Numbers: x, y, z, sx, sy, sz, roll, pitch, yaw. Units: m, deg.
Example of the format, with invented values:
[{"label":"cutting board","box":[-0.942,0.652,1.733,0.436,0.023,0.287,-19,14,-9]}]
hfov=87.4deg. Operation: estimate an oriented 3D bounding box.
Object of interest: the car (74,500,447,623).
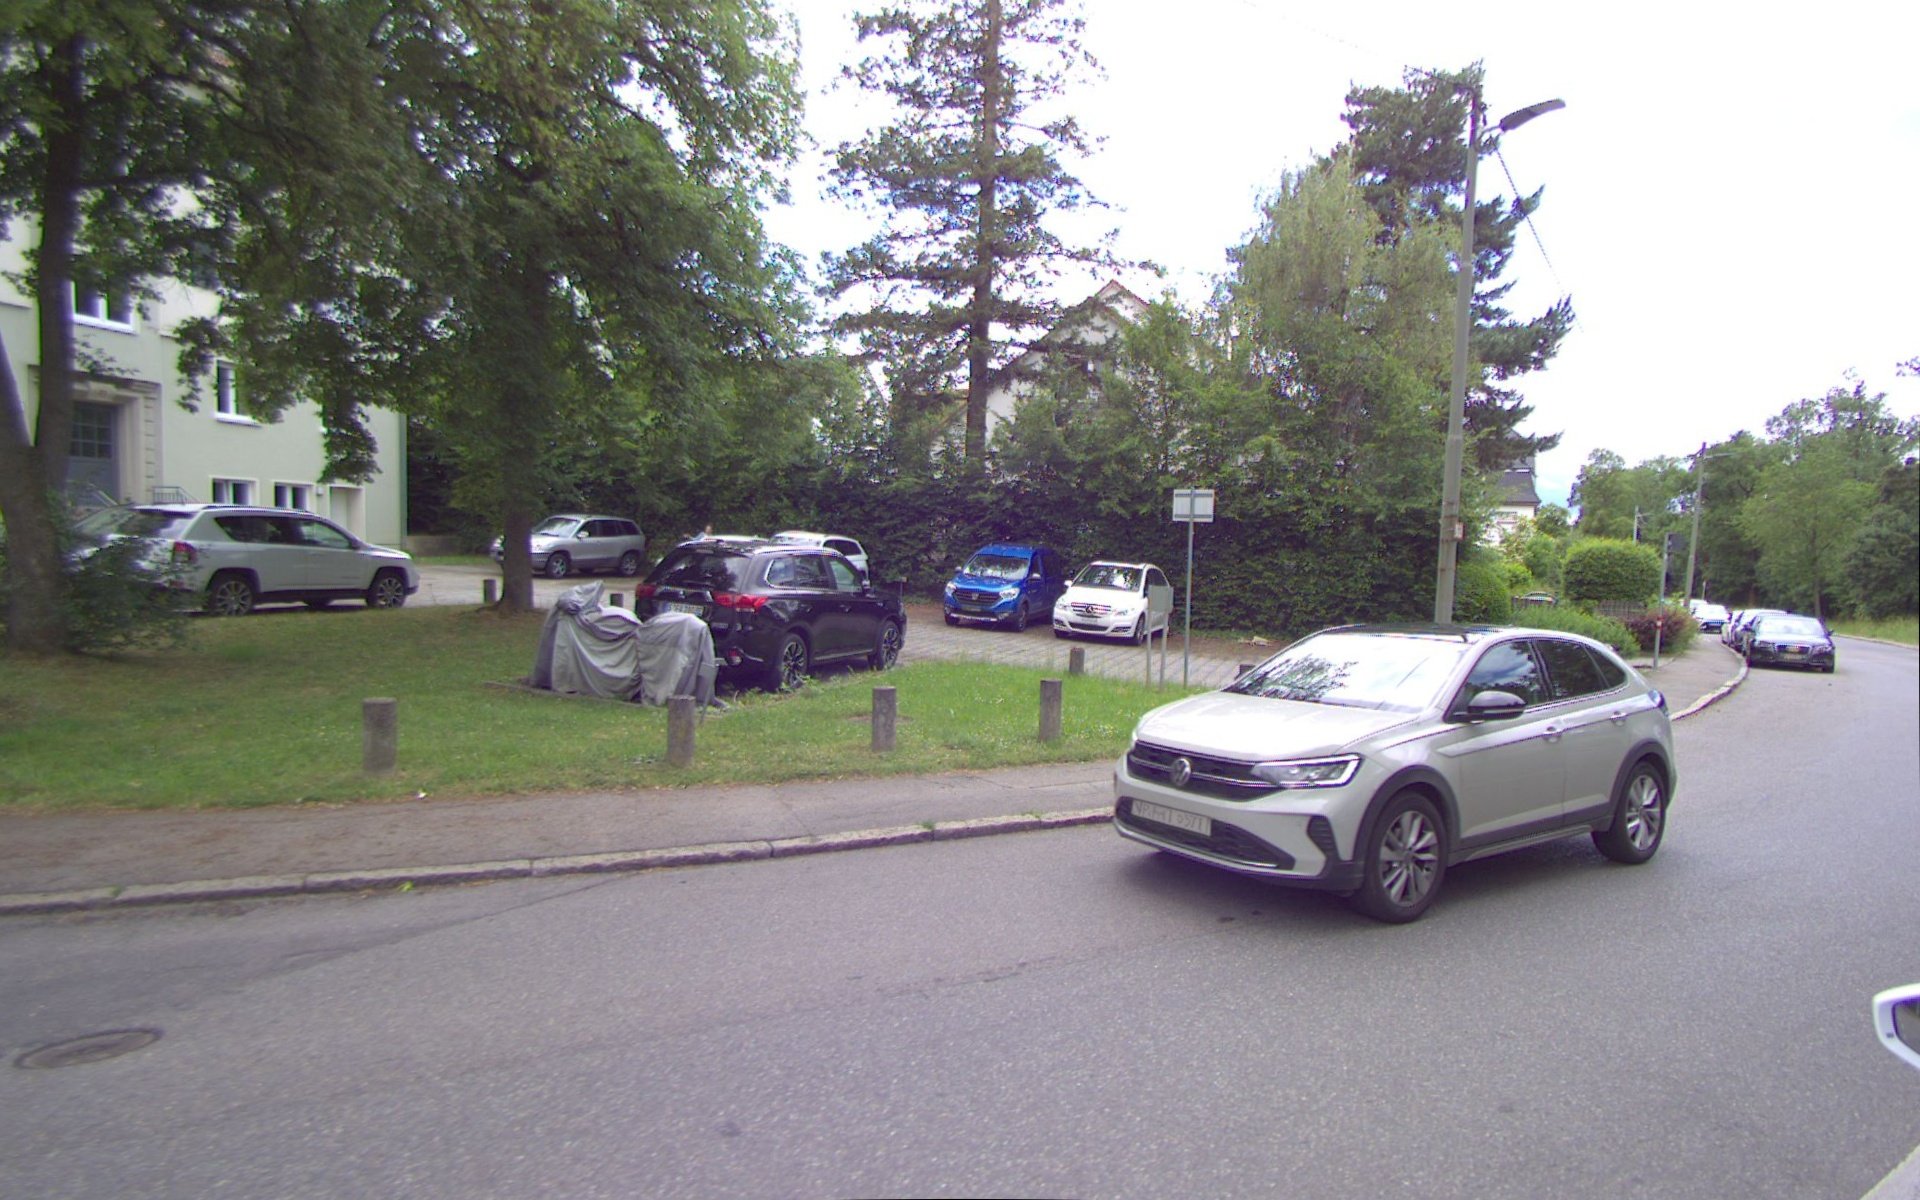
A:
[{"label":"car","box":[-10.676,-0.628,15.816,1.918,1.554,4.590,4,4,18]}]

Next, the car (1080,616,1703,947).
[{"label":"car","box":[2.860,0.882,6.362,4.036,1.476,1.714,2,-1,-34]}]

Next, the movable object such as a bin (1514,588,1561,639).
[{"label":"movable object such as a bin","box":[18.071,0.400,31.439,1.078,1.487,1.448,5,4,34]}]

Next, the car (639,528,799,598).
[{"label":"car","box":[-5.949,-0.942,25.307,1.843,1.513,4.197,4,3,21]}]

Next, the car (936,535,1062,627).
[{"label":"car","box":[0.974,-0.482,22.421,1.712,1.756,4.264,4,3,17]}]

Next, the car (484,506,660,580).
[{"label":"car","box":[-10.426,-1.514,27.380,1.714,1.753,4.623,4,3,23]}]

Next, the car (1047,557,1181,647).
[{"label":"car","box":[3.365,-0.012,21.247,1.714,1.615,4.269,4,3,23]}]

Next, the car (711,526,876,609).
[{"label":"car","box":[-3.827,-0.802,23.977,1.968,1.700,4.496,4,3,18]}]

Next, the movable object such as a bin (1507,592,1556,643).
[{"label":"movable object such as a bin","box":[17.198,0.511,30.202,1.099,1.382,1.389,5,4,34]}]

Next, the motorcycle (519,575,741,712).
[{"label":"motorcycle","box":[-3.363,0.392,10.233,2.026,1.167,0.865,4,3,22]}]

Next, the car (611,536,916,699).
[{"label":"car","box":[-2.241,0.121,12.765,1.713,1.615,4.332,4,3,21]}]

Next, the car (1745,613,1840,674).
[{"label":"car","box":[22.878,1.130,27.736,1.712,1.437,4.487,3,2,37]}]
